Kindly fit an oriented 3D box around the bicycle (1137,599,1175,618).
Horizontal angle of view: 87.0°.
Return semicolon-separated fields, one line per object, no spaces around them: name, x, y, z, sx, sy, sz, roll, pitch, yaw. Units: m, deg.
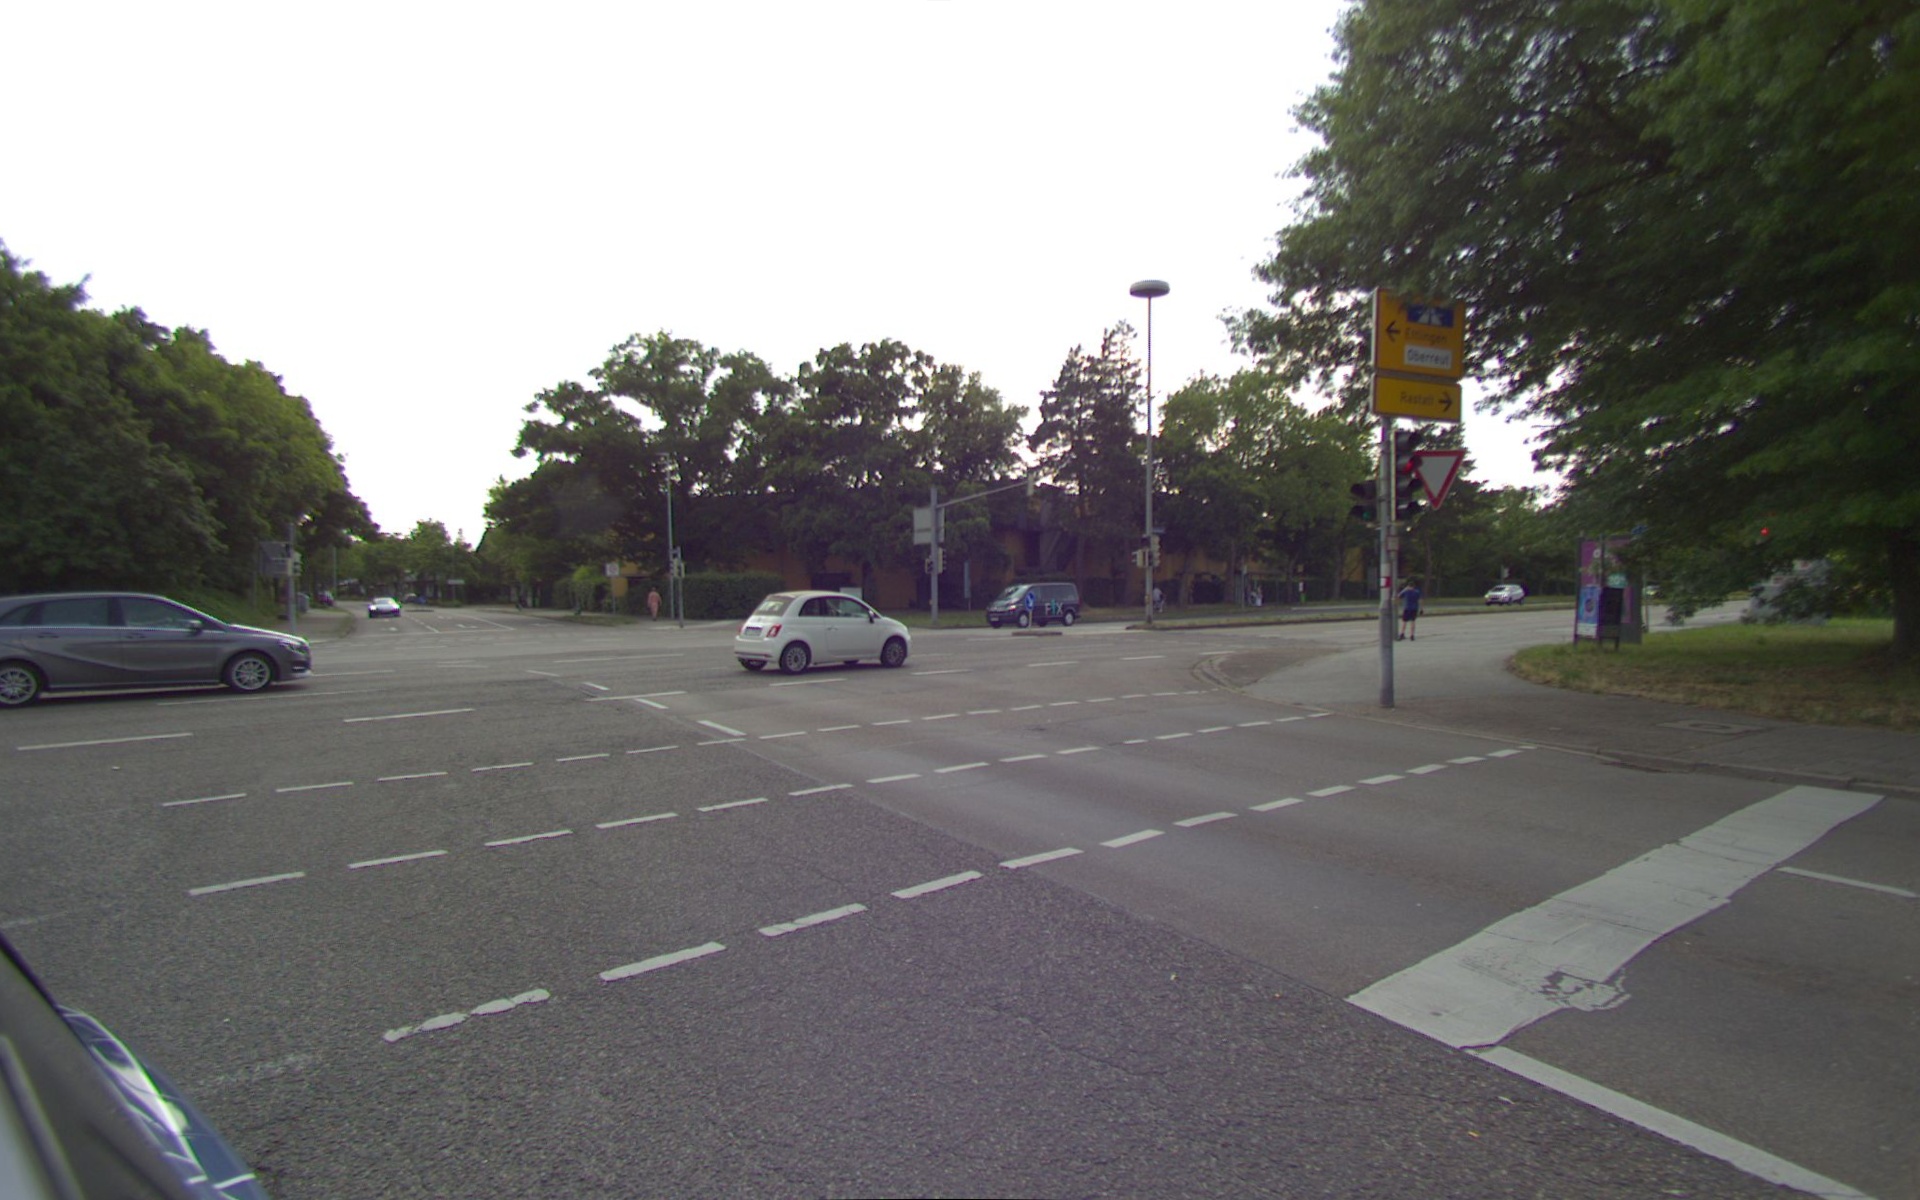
bicycle;11.693;0.521;60.405;2.100;1.127;0.752;-1;0;22

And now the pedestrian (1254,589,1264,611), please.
pedestrian;21.500;0.000;72.874;0.570;1.507;0.416;2;1;34

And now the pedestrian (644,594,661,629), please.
pedestrian;-15.535;0.598;51.139;0.680;1.755;0.707;-1;0;-24

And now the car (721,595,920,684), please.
car;-2.595;0.682;19.295;3.486;1.508;1.577;-1;0;-43

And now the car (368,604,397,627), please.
car;-40.052;1.051;70.178;1.701;1.439;4.013;1;1;-31

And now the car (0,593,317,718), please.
car;-12.220;0.724;15.045;4.293;1.631;1.706;-1;1;-42

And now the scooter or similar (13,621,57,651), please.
scooter or similar;-29.945;1.163;32.786;1.019;0.949;0.297;0;1;-35

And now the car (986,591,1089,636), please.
car;3.510;0.560;45.120;4.742;1.871;1.773;-1;0;-42

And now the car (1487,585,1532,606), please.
car;44.972;-0.367;82.837;4.387;1.718;1.869;-1;0;-42

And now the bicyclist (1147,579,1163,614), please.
bicyclist;11.656;-0.213;60.424;0.826;2.029;0.748;-1;0;22

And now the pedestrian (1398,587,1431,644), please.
pedestrian;12.539;0.429;27.894;0.725;1.543;0.751;-1;0;33
